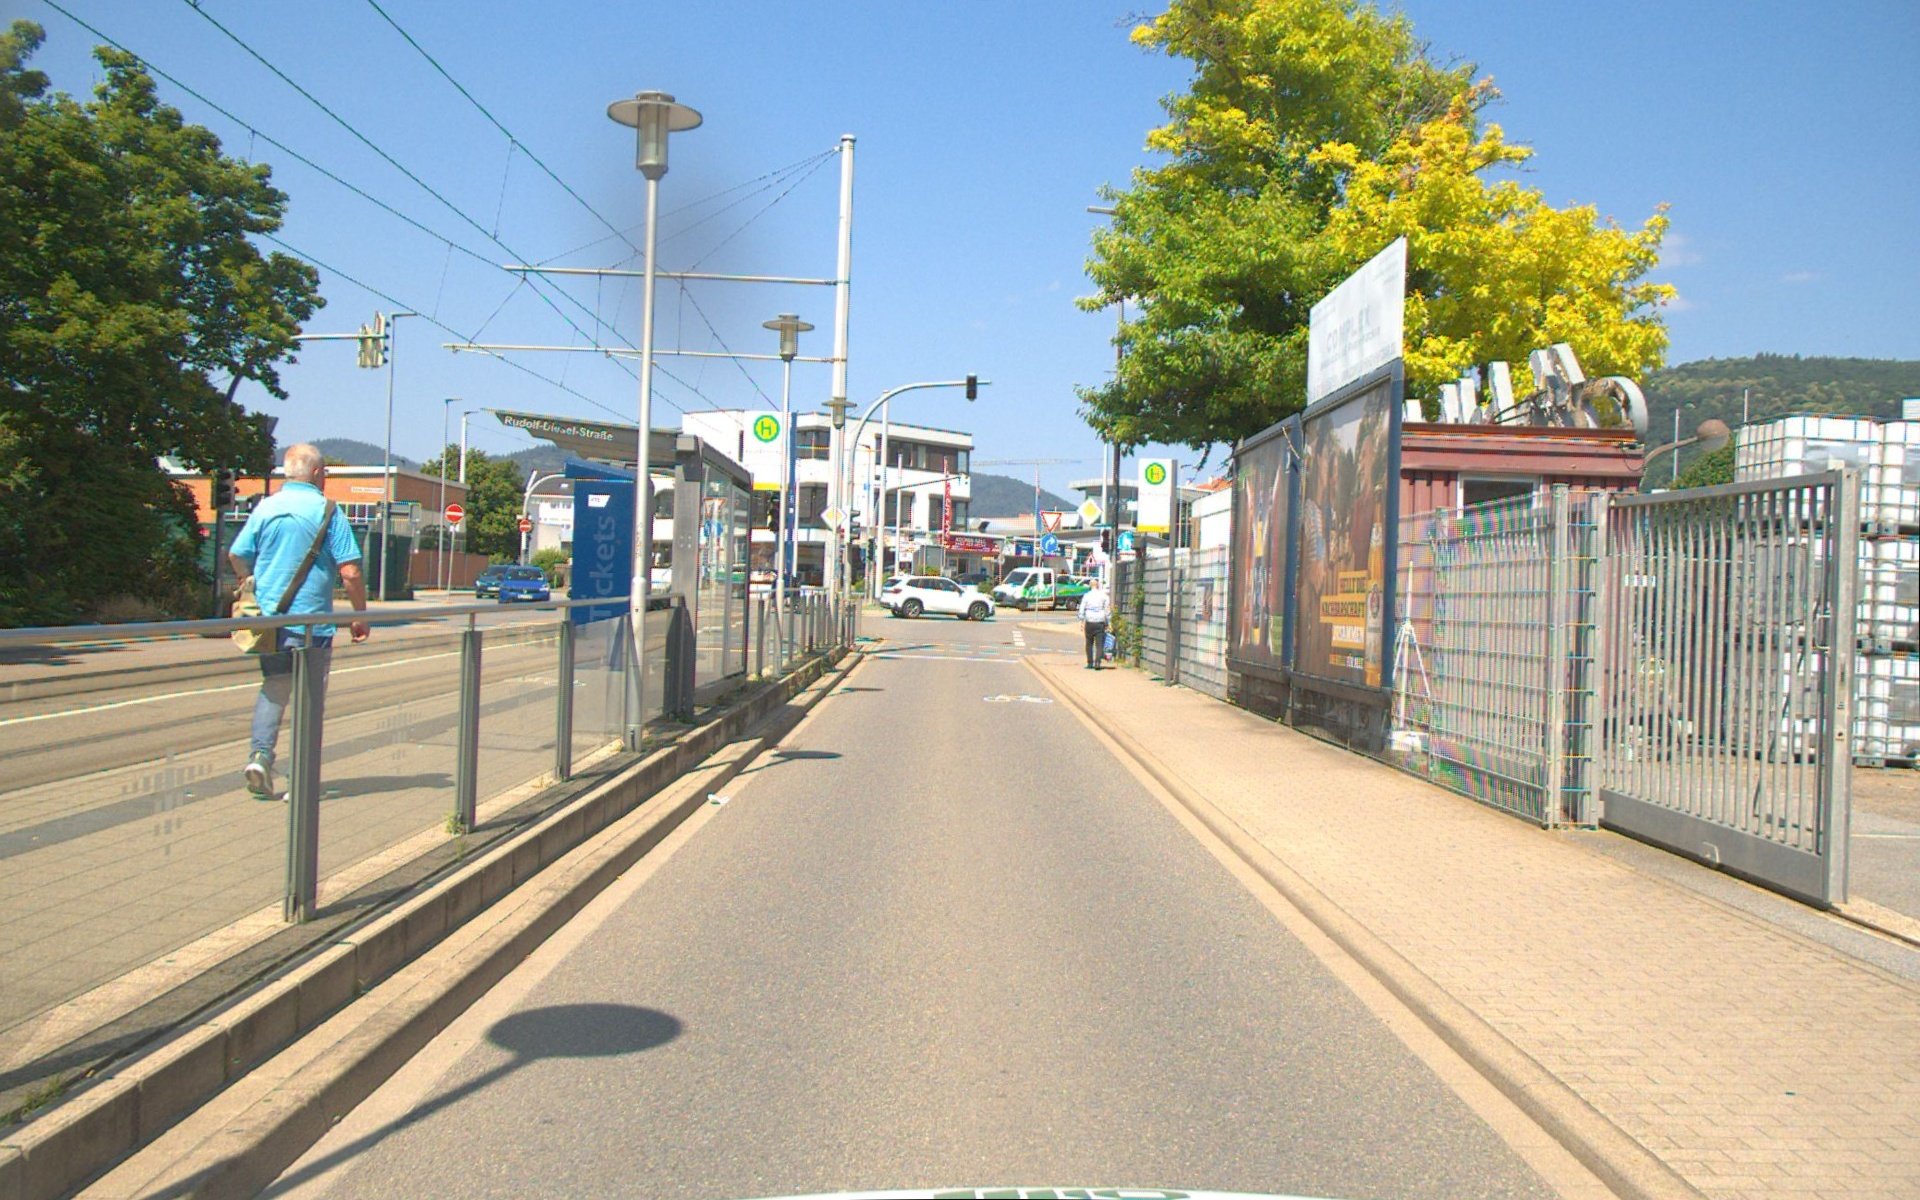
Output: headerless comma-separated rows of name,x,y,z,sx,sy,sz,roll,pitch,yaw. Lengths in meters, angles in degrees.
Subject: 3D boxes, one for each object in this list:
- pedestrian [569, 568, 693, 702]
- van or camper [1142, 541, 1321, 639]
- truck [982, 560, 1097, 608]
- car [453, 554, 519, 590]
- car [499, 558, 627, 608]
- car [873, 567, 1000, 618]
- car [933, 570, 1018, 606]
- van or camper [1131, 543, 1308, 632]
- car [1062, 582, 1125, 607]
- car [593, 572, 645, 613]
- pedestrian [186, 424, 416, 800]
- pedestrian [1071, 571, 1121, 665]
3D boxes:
pedestrian,-2.926,0.300,14.772,0.924,1.118,0.726,3,1,-1
van or camper,8.690,-0.356,53.366,5.391,2.862,2.049,3,2,4
truck,4.425,-0.870,91.199,6.317,2.378,2.182,2,0,-36
car,-20.621,-1.223,71.853,1.885,1.467,4.554,1,1,-28
car,-13.714,-0.584,57.089,4.086,1.563,1.796,2,0,-20
car,-0.899,-0.292,63.222,4.476,1.763,1.991,2,1,-17
car,0.950,-0.735,99.892,5.238,2.000,1.935,2,0,-44
van or camper,8.767,-0.434,56.220,5.690,2.822,2.092,2,1,2
car,9.426,-0.355,116.402,1.853,1.616,4.897,0,-1,42
car,-18.013,-0.382,87.618,2.120,2.049,5.011,3,0,-6
pedestrian,-3.297,0.051,8.354,0.709,1.754,0.944,3,1,-1
pedestrian,2.537,0.327,30.945,0.796,1.729,0.887,1,0,-3
